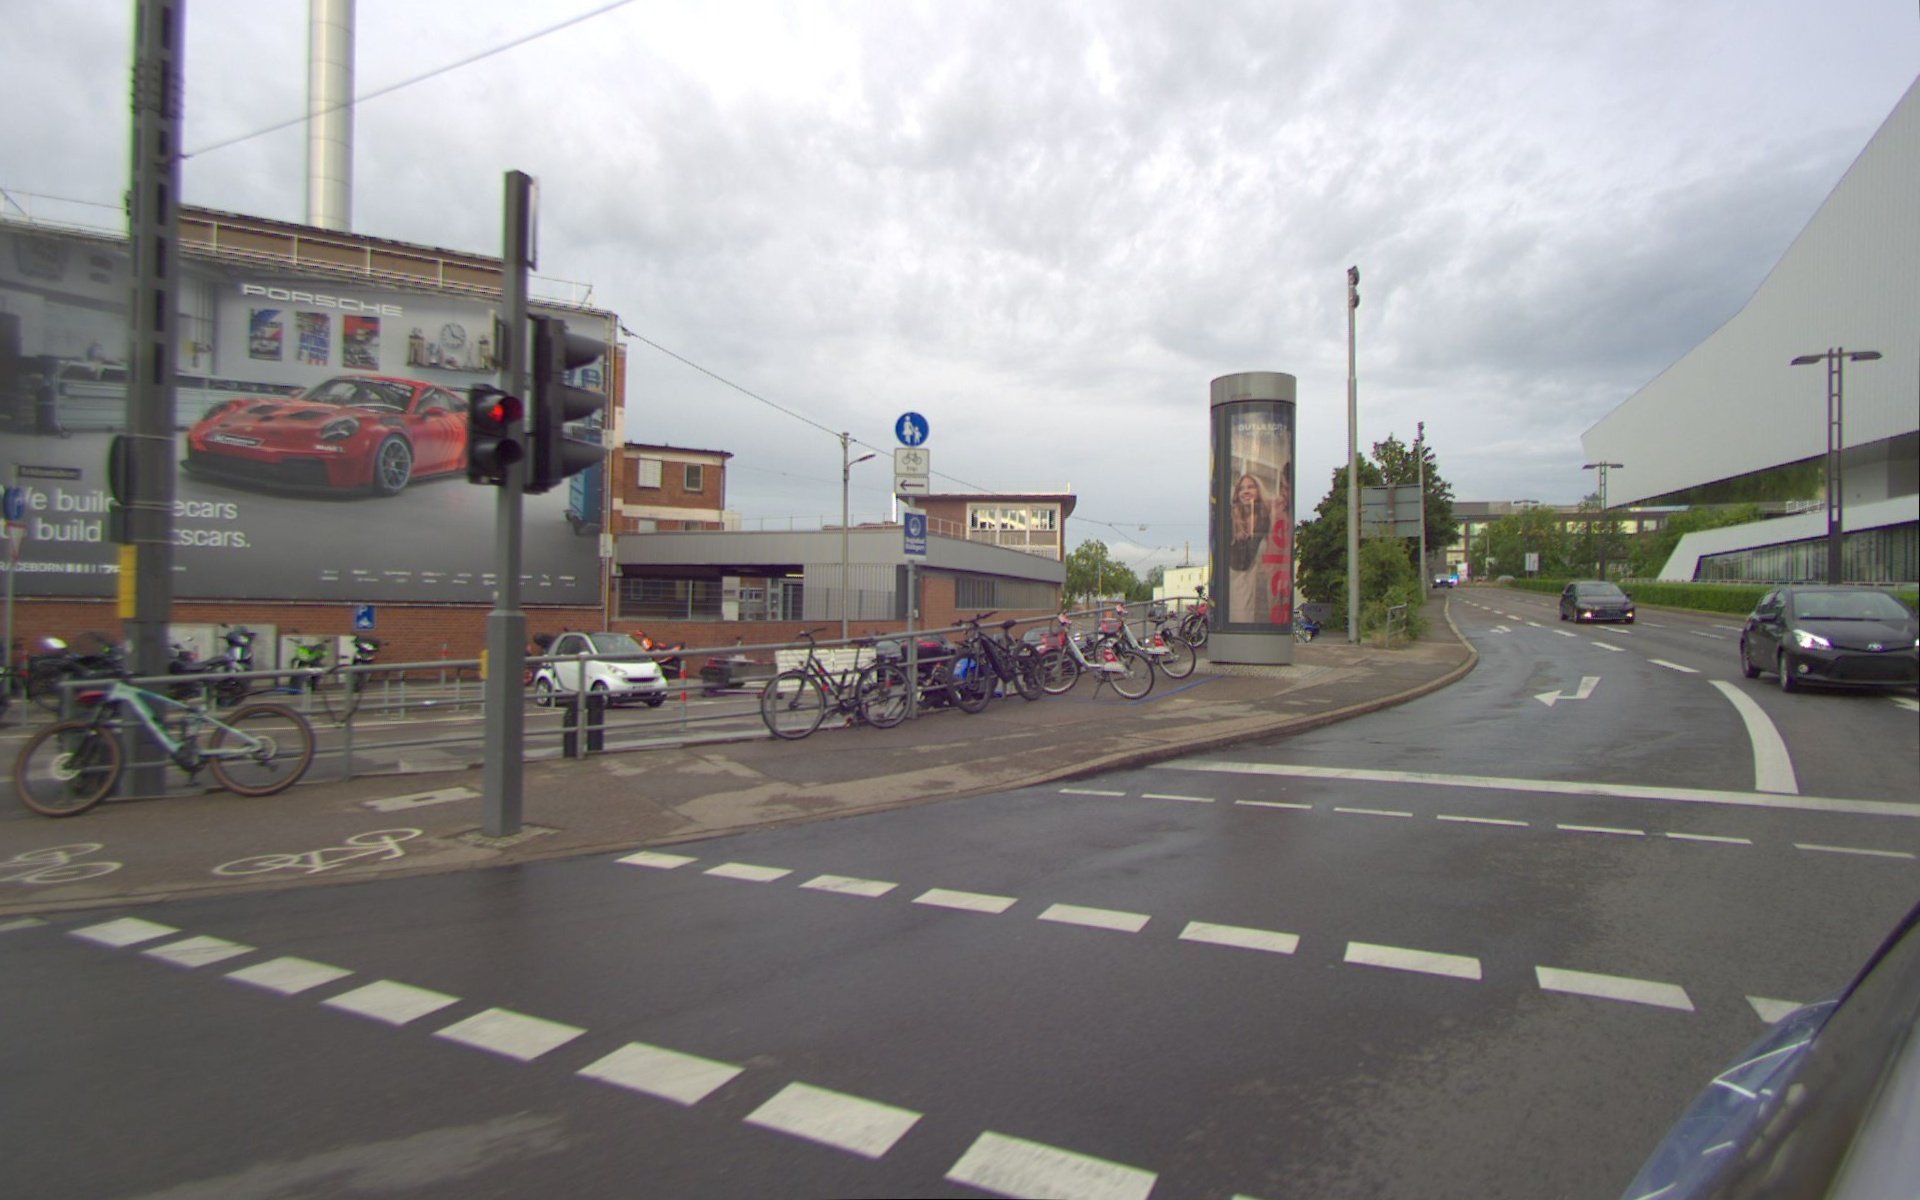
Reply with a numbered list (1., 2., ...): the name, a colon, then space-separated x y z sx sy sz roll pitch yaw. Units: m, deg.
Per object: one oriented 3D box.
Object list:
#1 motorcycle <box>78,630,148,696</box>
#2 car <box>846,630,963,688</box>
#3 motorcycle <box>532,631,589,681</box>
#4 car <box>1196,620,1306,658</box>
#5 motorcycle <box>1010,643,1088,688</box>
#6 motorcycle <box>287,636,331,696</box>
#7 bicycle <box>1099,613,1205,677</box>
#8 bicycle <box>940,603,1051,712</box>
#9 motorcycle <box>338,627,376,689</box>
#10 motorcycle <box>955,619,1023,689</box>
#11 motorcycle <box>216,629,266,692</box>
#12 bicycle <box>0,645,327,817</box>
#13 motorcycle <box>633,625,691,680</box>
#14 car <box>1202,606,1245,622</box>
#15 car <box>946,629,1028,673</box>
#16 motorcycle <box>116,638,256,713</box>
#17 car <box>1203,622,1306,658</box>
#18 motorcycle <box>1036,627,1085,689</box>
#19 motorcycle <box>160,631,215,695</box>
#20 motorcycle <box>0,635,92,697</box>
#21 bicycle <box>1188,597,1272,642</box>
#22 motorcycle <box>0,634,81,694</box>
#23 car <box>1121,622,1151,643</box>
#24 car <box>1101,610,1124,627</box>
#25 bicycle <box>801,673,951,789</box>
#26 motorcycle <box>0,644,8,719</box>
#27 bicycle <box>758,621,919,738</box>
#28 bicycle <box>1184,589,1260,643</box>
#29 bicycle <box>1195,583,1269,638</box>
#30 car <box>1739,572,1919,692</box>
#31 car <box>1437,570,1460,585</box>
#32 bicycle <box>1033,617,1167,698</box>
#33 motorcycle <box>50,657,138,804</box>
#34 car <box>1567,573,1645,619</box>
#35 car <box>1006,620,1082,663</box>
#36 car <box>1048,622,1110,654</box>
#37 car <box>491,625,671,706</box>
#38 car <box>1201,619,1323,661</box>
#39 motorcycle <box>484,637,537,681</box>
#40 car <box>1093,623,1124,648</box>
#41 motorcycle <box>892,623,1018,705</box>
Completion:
1. motorcycle: -17.176 1.258 20.558 0.661 1.195 1.651 -2 1 -25
2. car: -1.633 1.781 31.720 1.869 1.570 4.471 -1 0 24
3. motorcycle: -10.034 1.386 25.386 1.713 1.166 0.576 -1 1 41
4. car: 11.796 1.540 41.112 3.981 1.444 1.696 -1 -1 40
5. motorcycle: 1.933 1.419 21.893 1.595 0.933 0.479 -2 1 18
6. motorcycle: -13.894 1.381 21.629 0.467 1.133 1.813 -2 1 -23
7. bicycle: 2.970 0.679 15.719 1.607 0.933 0.416 0 0 37
8. bicycle: 0.487 0.672 12.669 0.397 1.189 1.991 0 2 33
9. motorcycle: -13.355 1.255 22.433 0.533 1.254 1.810 1 0 -25
10. motorcycle: 0.428 0.761 14.660 0.431 0.901 1.251 0 2 30
11. motorcycle: -15.195 1.248 21.417 0.533 1.195 1.716 -2 1 -25
12. bicycle: -6.264 0.996 8.028 2.030 1.144 0.422 -2 1 -19
13. motorcycle: -8.022 1.402 27.321 0.518 1.350 1.656 -2 1 24
14. car: 25.575 1.358 98.424 3.936 1.444 1.715 -1 0 11
15. car: 1.071 1.860 37.953 1.702 1.444 3.966 -1 0 25
16. motorcycle: -13.376 1.286 17.551 1.828 1.124 0.545 -2 1 -29
17. car: 12.784 1.712 44.096 3.981 1.444 1.696 -1 -1 40
18. motorcycle: 1.699 0.941 16.938 0.398 0.901 1.530 -1 2 22
19. motorcycle: -15.994 1.281 20.994 0.533 1.195 1.651 -2 1 -25
20. motorcycle: -18.482 1.310 20.254 1.569 1.134 0.546 -2 1 -21
21. bicycle: 5.754 0.404 21.579 1.669 0.933 0.487 0 1 -11
22. motorcycle: -19.323 1.323 20.912 1.614 1.124 0.546 -2 1 -21
23. car: 12.845 2.365 74.174 1.690 1.444 4.223 -1 0 4
24. car: 13.568 1.636 90.082 1.690 1.444 3.995 -1 0 4
25. bicycle: -0.935 1.454 11.498 1.710 1.097 0.348 -2 1 -32
26. motorcycle: -15.031 1.295 15.129 0.485 1.160 1.727 -2 1 -20
27. bicycle: -1.276 0.816 10.839 1.710 1.097 0.348 -2 1 -32
28. bicycle: 5.422 0.324 20.946 1.433 1.087 0.444 0 2 -6
29. bicycle: 6.022 0.229 22.439 1.519 1.169 0.450 1 2 8
30. car: 12.977 0.374 14.908 1.679 1.526 3.973 -1 1 28
31. car: 54.164 -2.496 112.261 1.795 1.457 4.275 1 0 19
32. bicycle: 1.822 0.733 13.343 1.733 0.973 0.416 0 2 33
33. motorcycle: -8.200 1.164 9.554 0.480 1.160 2.089 -2 1 -44
34. car: 22.938 -0.176 36.088 1.731 1.493 4.036 -1 1 24
35. car: 3.715 1.761 44.202 1.767 1.688 4.463 -1 0 27
36. car: 5.859 1.827 49.519 1.704 1.422 4.235 -1 0 27
37. car: -8.005 1.309 21.276 3.971 1.508 1.549 -1 -1 34
38. car: 11.096 1.430 37.333 3.981 1.444 1.696 -1 -1 40
39. motorcycle: -10.881 1.408 24.478 1.609 0.985 0.533 -1 1 41
40. car: 9.229 2.194 62.672 1.706 1.406 3.985 -1 0 12
41. motorcycle: -0.047 0.805 13.200 1.715 0.906 0.547 -2 2 -42
